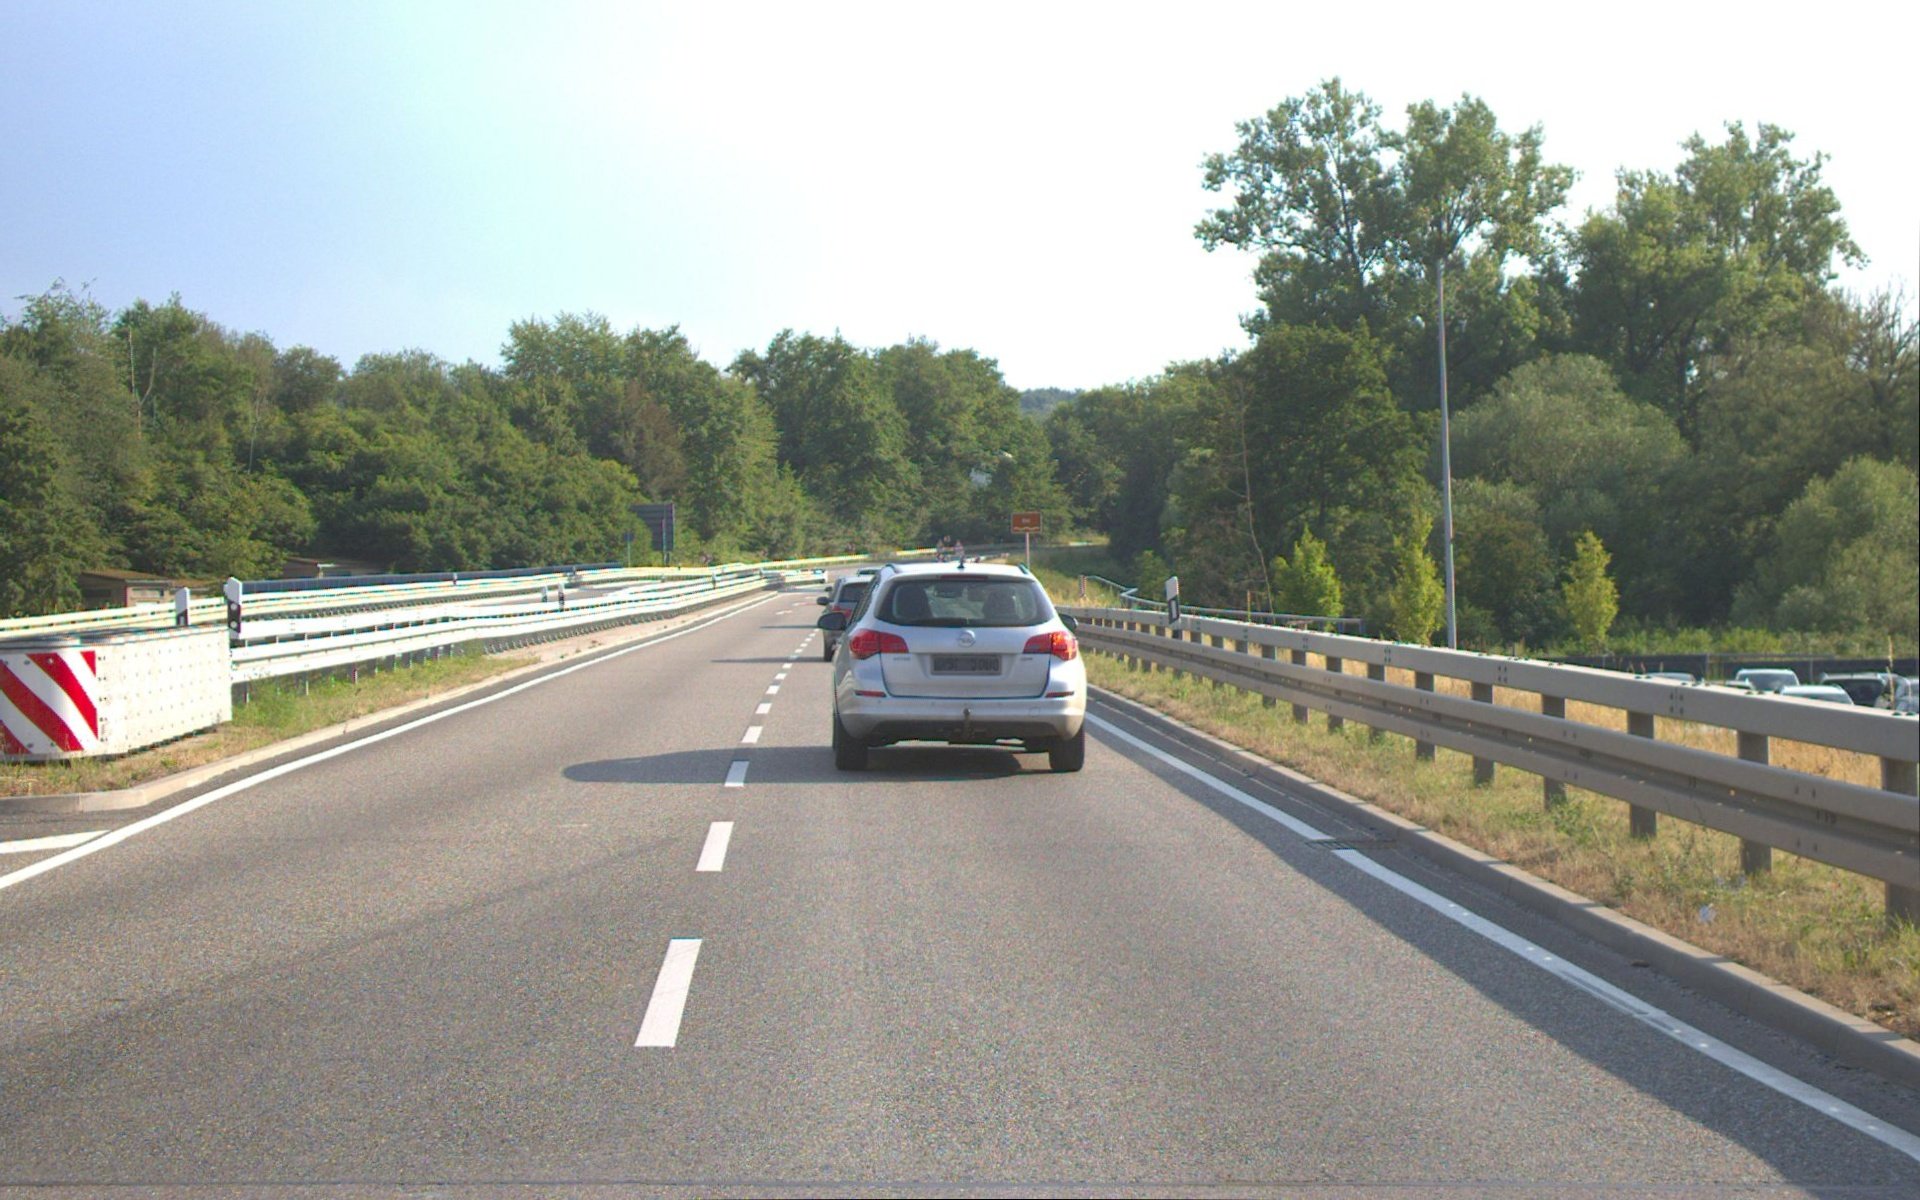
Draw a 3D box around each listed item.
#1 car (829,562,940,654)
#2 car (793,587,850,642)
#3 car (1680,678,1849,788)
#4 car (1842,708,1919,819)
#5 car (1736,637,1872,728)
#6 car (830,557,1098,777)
[{"bbox_3d":[-1.309,0.143,58.512,1.809,1.481,4.000,1,0,-2],"label":"car"},{"bbox_3d":[-3.813,0.397,95.034,1.492,1.471,3.359,1,0,-1],"label":"car"},{"bbox_3d":[13.353,2.182,57.273,1.775,1.678,4.000,1,0,-1],"label":"car"},{"bbox_3d":[16.097,2.661,56.090,1.999,1.645,4.730,1,0,-2],"label":"car"},{"bbox_3d":[16.434,1.592,67.106,1.775,1.678,4.000,1,0,2],"label":"car"},{"bbox_3d":[-0.032,0.466,25.441,1.809,1.481,4.000,1,0,-2],"label":"car"}]
